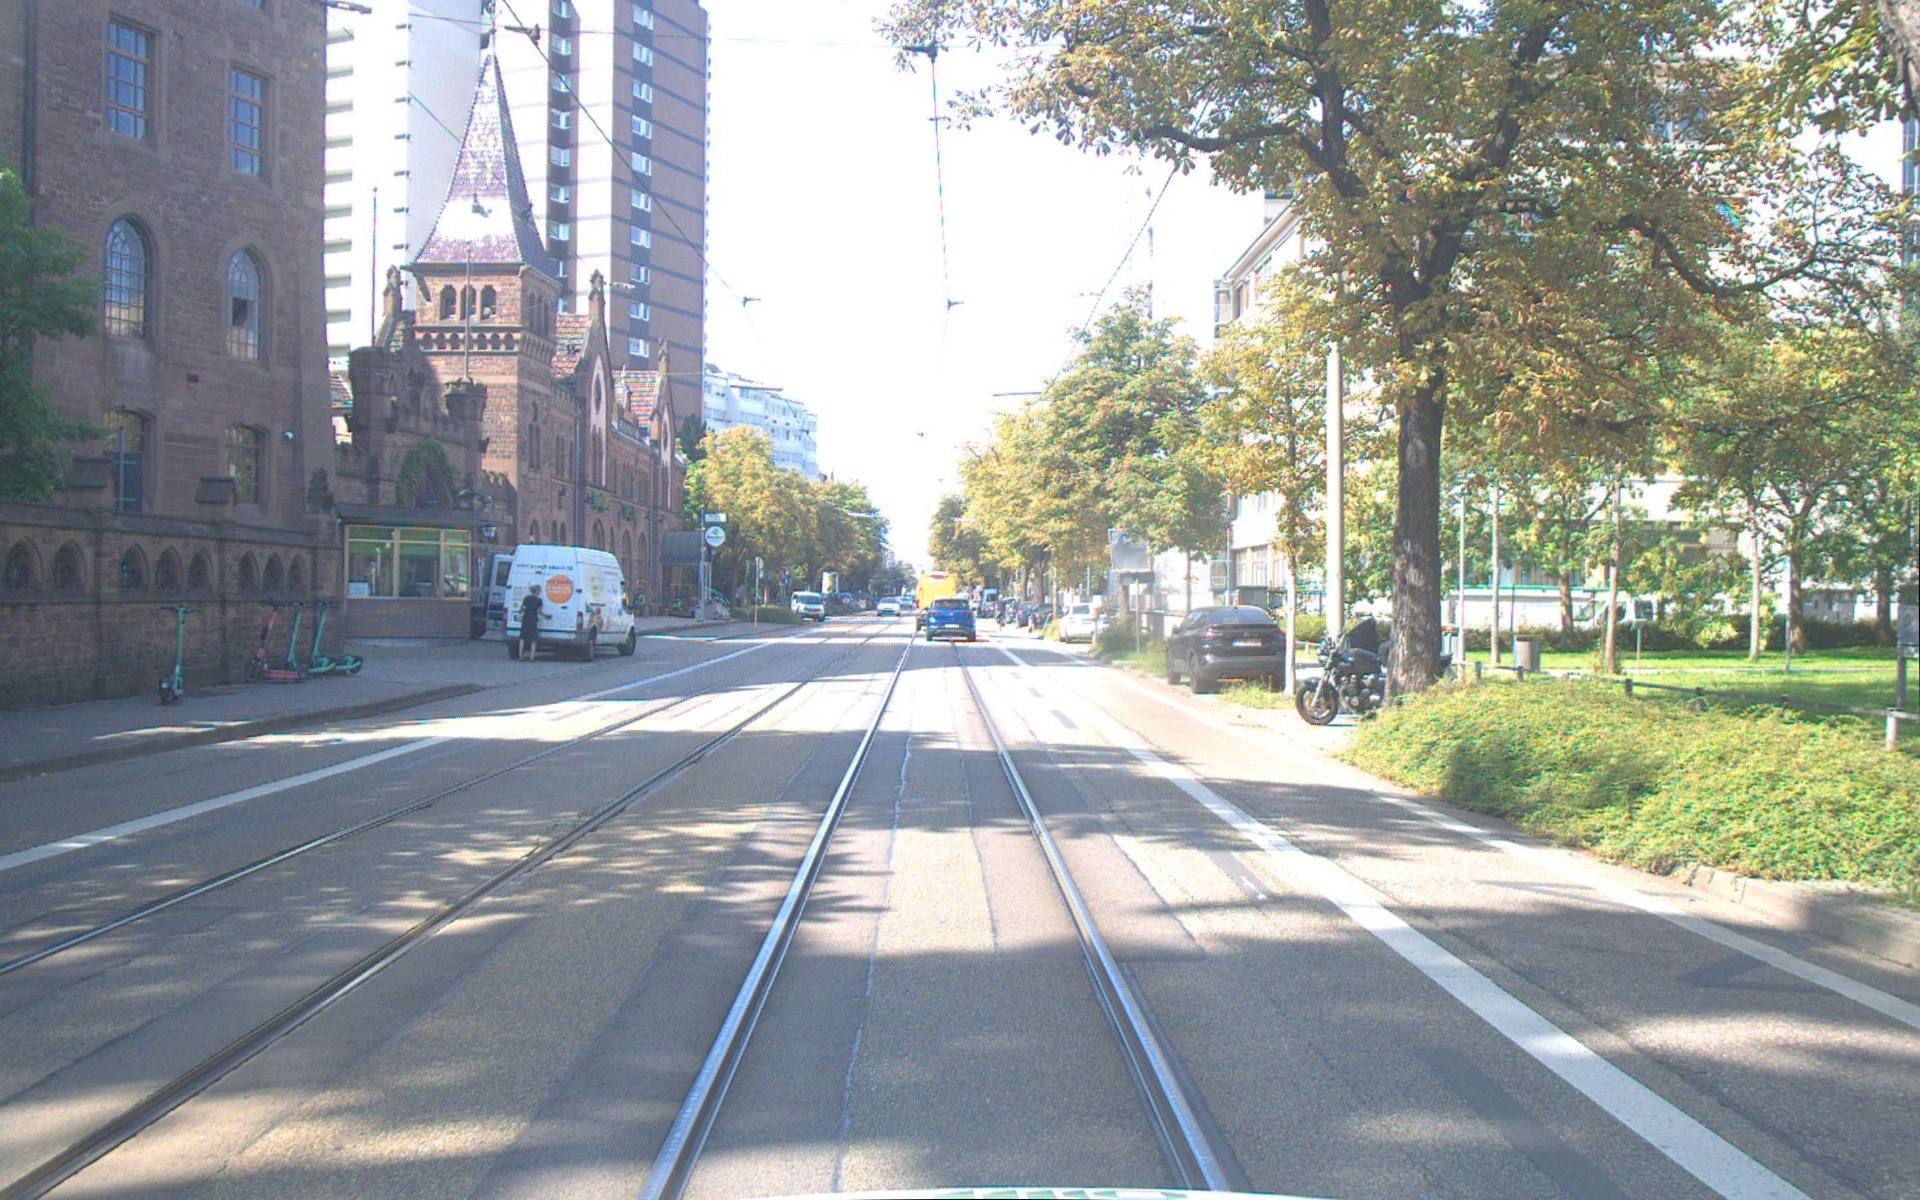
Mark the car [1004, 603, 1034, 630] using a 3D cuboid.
[{"bbox_3d":[3.746,1.040,105.302,1.601,1.612,4.187,1,0,-2],"label":"car"}]

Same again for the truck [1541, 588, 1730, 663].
[{"bbox_3d":[22.536,0.841,55.350,5.394,2.366,2.298,1,0,0],"label":"truck"}]

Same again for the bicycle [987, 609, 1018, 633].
[{"bbox_3d":[2.110,1.047,82.660,1.373,1.154,3.999,1,0,-1],"label":"bicycle"}]

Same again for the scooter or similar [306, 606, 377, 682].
[{"bbox_3d":[-10.023,0.706,26.839,0.332,1.199,1.177,1,0,24],"label":"scooter or similar"}]

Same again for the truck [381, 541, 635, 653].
[{"bbox_3d":[-12.291,-0.105,45.204,6.189,2.582,2.132,4,1,4],"label":"truck"}]

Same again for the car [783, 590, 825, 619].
[{"bbox_3d":[-10.294,0.281,108.839,1.722,1.828,3.975,1,0,-21],"label":"car"}]

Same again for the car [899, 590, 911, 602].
[{"bbox_3d":[-8.188,-0.624,246.019,1.744,1.713,4.345,1,0,-2],"label":"car"}]

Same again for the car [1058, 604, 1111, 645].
[{"bbox_3d":[4.653,0.906,62.290,1.625,1.507,4.216,0,0,-1],"label":"car"}]

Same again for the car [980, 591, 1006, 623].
[{"bbox_3d":[2.872,0.624,146.495,1.953,2.804,5.759,1,0,-2],"label":"car"}]

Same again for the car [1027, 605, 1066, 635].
[{"bbox_3d":[4.202,0.964,80.663,1.625,1.432,4.216,0,0,-1],"label":"car"}]

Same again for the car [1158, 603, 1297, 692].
[{"bbox_3d":[4.992,0.846,31.415,1.720,1.542,4.607,0,0,-2],"label":"car"}]

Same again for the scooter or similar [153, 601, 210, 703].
[{"bbox_3d":[-9.518,0.613,20.242,0.413,1.199,1.311,1,0,-16],"label":"scooter or similar"}]

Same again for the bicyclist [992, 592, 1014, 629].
[{"bbox_3d":[2.152,0.511,82.683,1.011,1.844,1.016,1,0,-1],"label":"bicyclist"}]

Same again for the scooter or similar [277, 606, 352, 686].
[{"bbox_3d":[-10.020,0.705,25.705,0.332,1.199,1.177,1,0,24],"label":"scooter or similar"}]

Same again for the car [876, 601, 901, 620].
[{"bbox_3d":[-5.850,0.857,135.622,1.809,1.518,4.866,0,0,0],"label":"car"}]

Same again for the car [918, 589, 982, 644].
[{"bbox_3d":[-0.420,0.563,59.969,2.093,1.891,5.565,0,0,-3],"label":"car"}]

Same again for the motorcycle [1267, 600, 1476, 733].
[{"bbox_3d":[5.138,0.795,20.753,2.407,1.542,0.849,1,0,38],"label":"motorcycle"}]

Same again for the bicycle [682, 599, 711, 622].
[{"bbox_3d":[-14.023,0.569,88.124,1.423,1.112,0.399,4,-1,-5],"label":"bicycle"}]

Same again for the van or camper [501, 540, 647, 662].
[{"bbox_3d":[-9.294,0.035,40.417,2.069,2.722,5.955,1,0,0],"label":"van or camper"}]

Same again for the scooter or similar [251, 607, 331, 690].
[{"bbox_3d":[-9.914,0.705,24.535,0.332,1.199,1.177,1,0,24],"label":"scooter or similar"}]

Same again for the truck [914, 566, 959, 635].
[{"bbox_3d":[-1.125,0.024,79.422,2.092,3.179,6.083,0,0,-1],"label":"truck"}]

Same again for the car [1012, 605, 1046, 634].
[{"bbox_3d":[3.834,1.099,92.205,1.707,1.583,4.216,0,0,-1],"label":"car"}]

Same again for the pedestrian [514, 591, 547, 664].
[{"bbox_3d":[-9.614,0.611,37.008,0.486,1.627,0.553,1,0,14],"label":"pedestrian"}]

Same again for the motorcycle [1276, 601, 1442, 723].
[{"bbox_3d":[5.372,0.802,22.458,0.839,1.542,2.435,1,0,-25],"label":"motorcycle"}]

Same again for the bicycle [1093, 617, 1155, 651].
[{"bbox_3d":[4.899,1.006,49.535,1.775,0.975,0.558,1,0,-1],"label":"bicycle"}]
